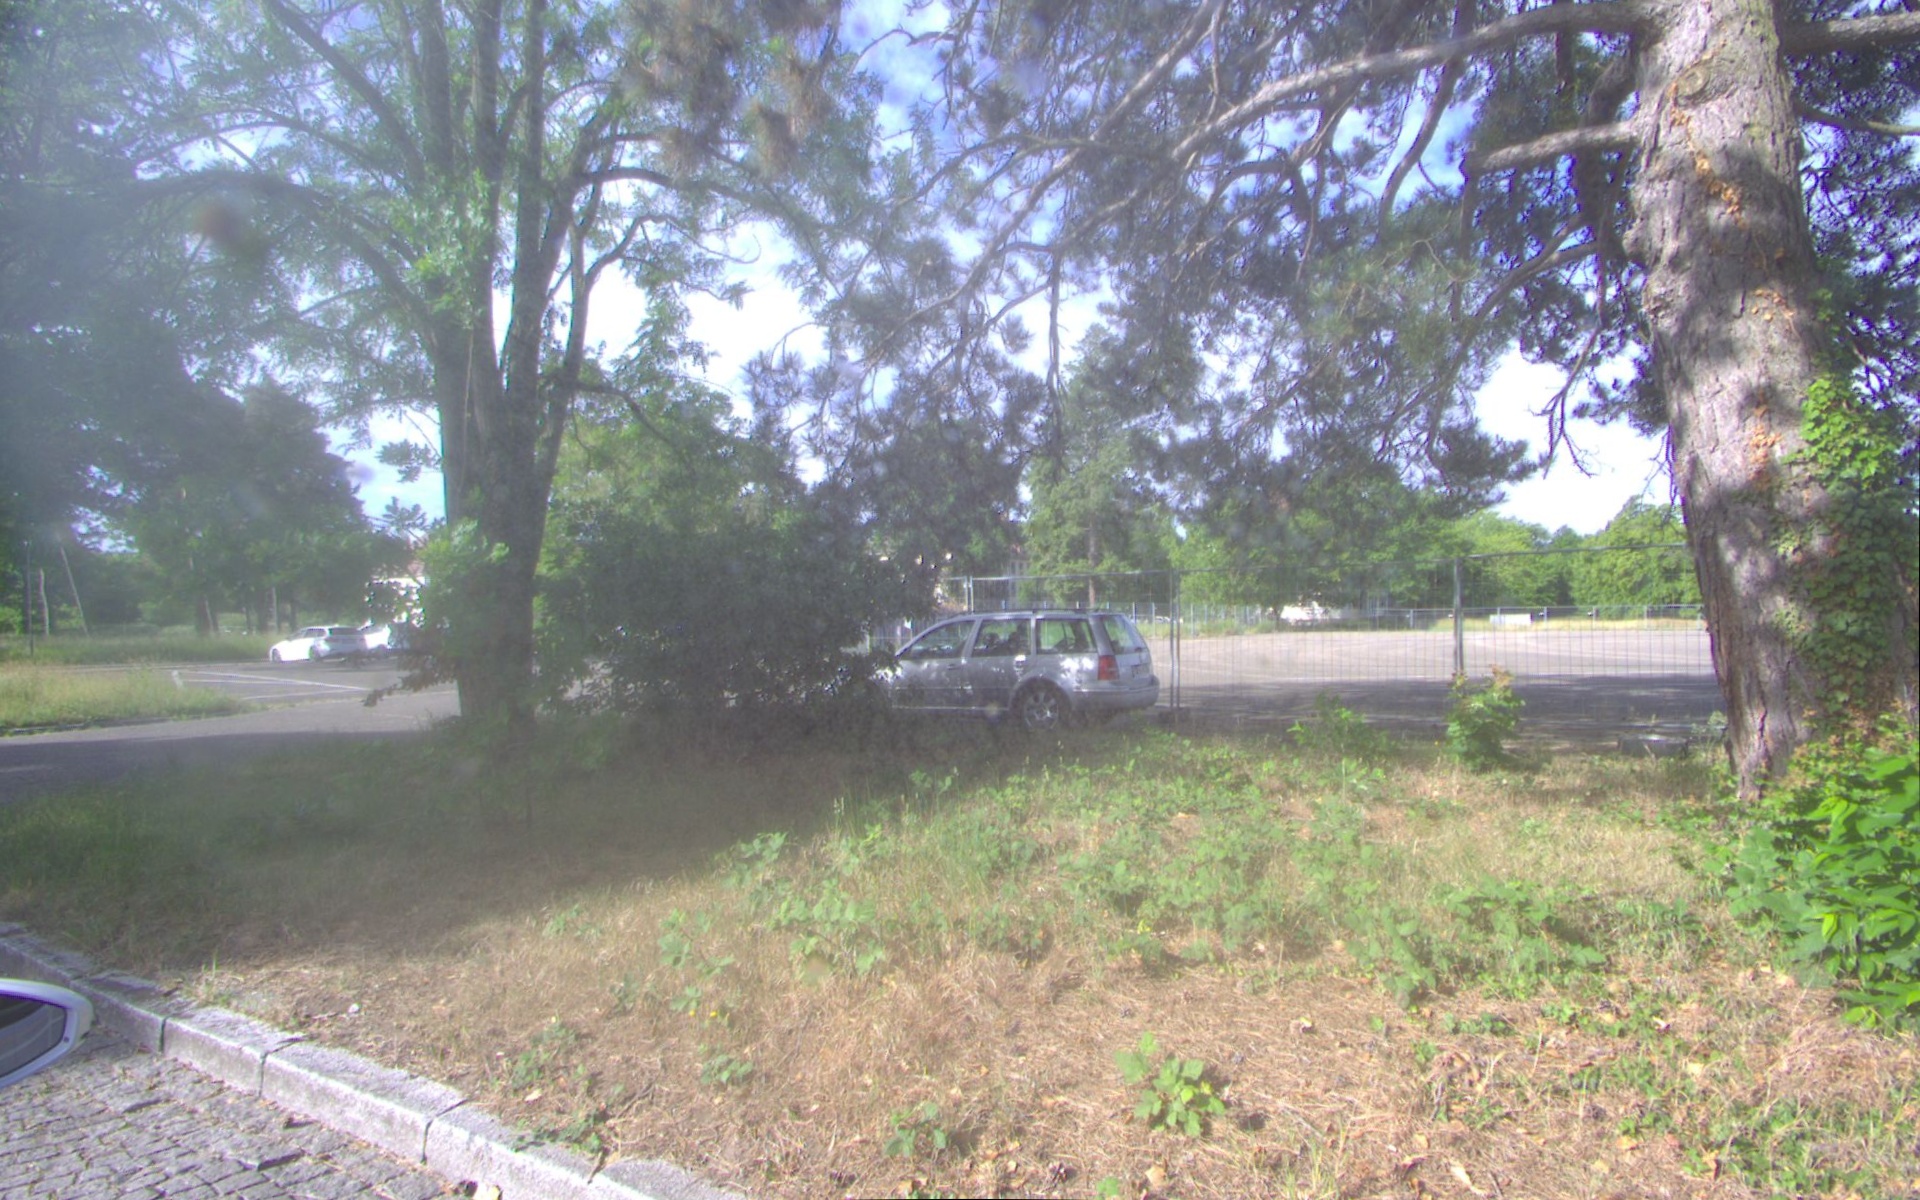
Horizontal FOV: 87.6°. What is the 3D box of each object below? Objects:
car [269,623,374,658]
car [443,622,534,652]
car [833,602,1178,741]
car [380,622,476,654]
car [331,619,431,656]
[{"bbox_3d":[-25.805,1.598,40.474,4.265,1.329,1.729,-1,-1,28],"label":"car"},{"bbox_3d":[-22.481,1.759,47.674,4.265,1.329,1.729,-1,0,28],"label":"car"},{"bbox_3d":[0.529,0.808,12.363,3.938,1.487,1.666,-1,-1,28],"label":"car"},{"bbox_3d":[-23.905,1.689,44.946,4.265,1.330,1.729,-1,1,28],"label":"car"},{"bbox_3d":[-24.760,1.599,42.790,4.265,1.496,1.729,-1,-1,28],"label":"car"}]
